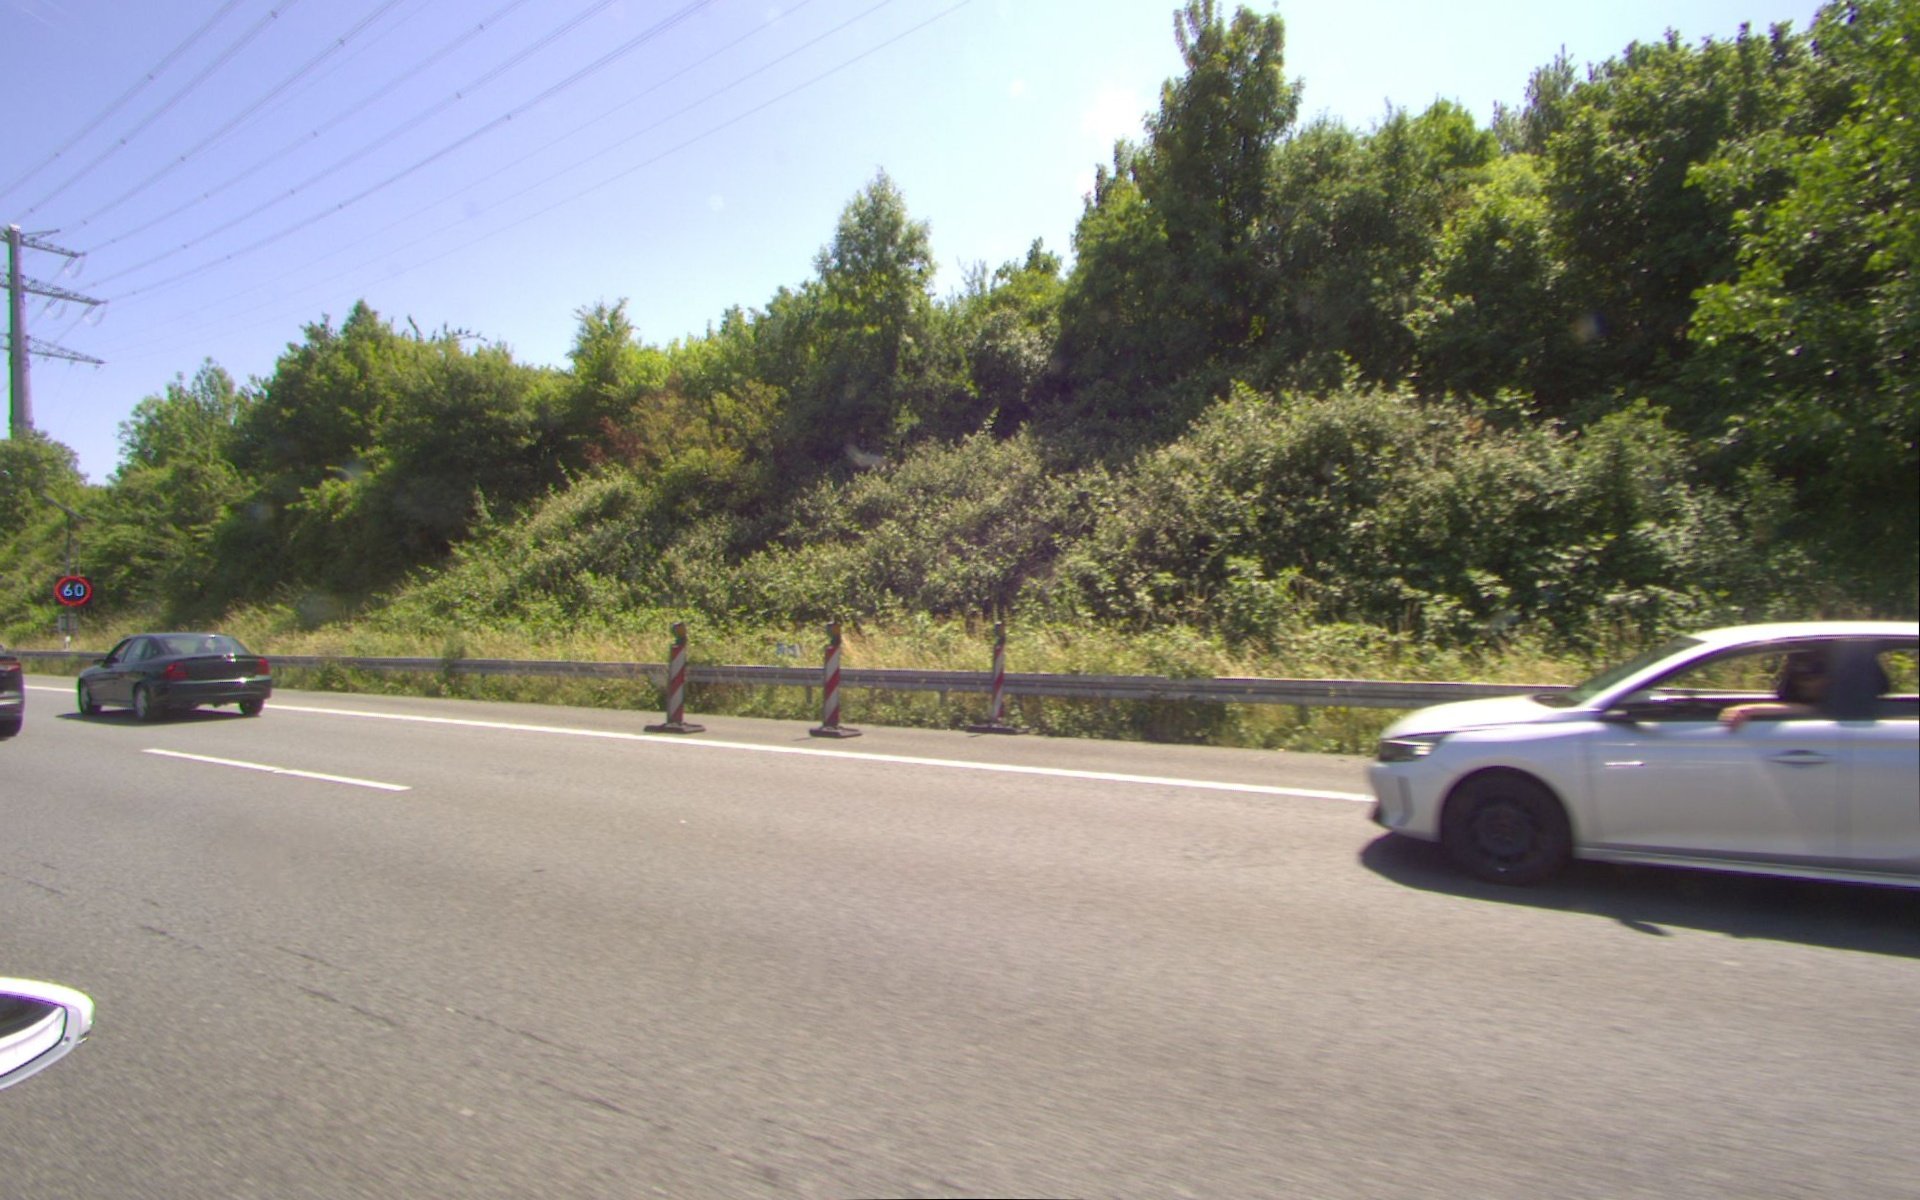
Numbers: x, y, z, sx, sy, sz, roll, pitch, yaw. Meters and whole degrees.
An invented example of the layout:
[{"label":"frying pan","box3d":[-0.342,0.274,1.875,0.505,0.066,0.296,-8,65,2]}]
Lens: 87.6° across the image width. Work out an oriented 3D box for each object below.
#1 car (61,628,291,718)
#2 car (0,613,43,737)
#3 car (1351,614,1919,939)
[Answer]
[{"label":"car","box3d":[-13.562,1.185,17.268,4.239,1.395,1.732,-1,-2,31]},{"label":"car","box3d":[-14.799,1.007,14.013,4.367,1.635,1.825,-1,-1,32]},{"label":"car","box3d":[4.444,0.836,5.608,3.957,1.489,1.737,-1,-1,33]}]
